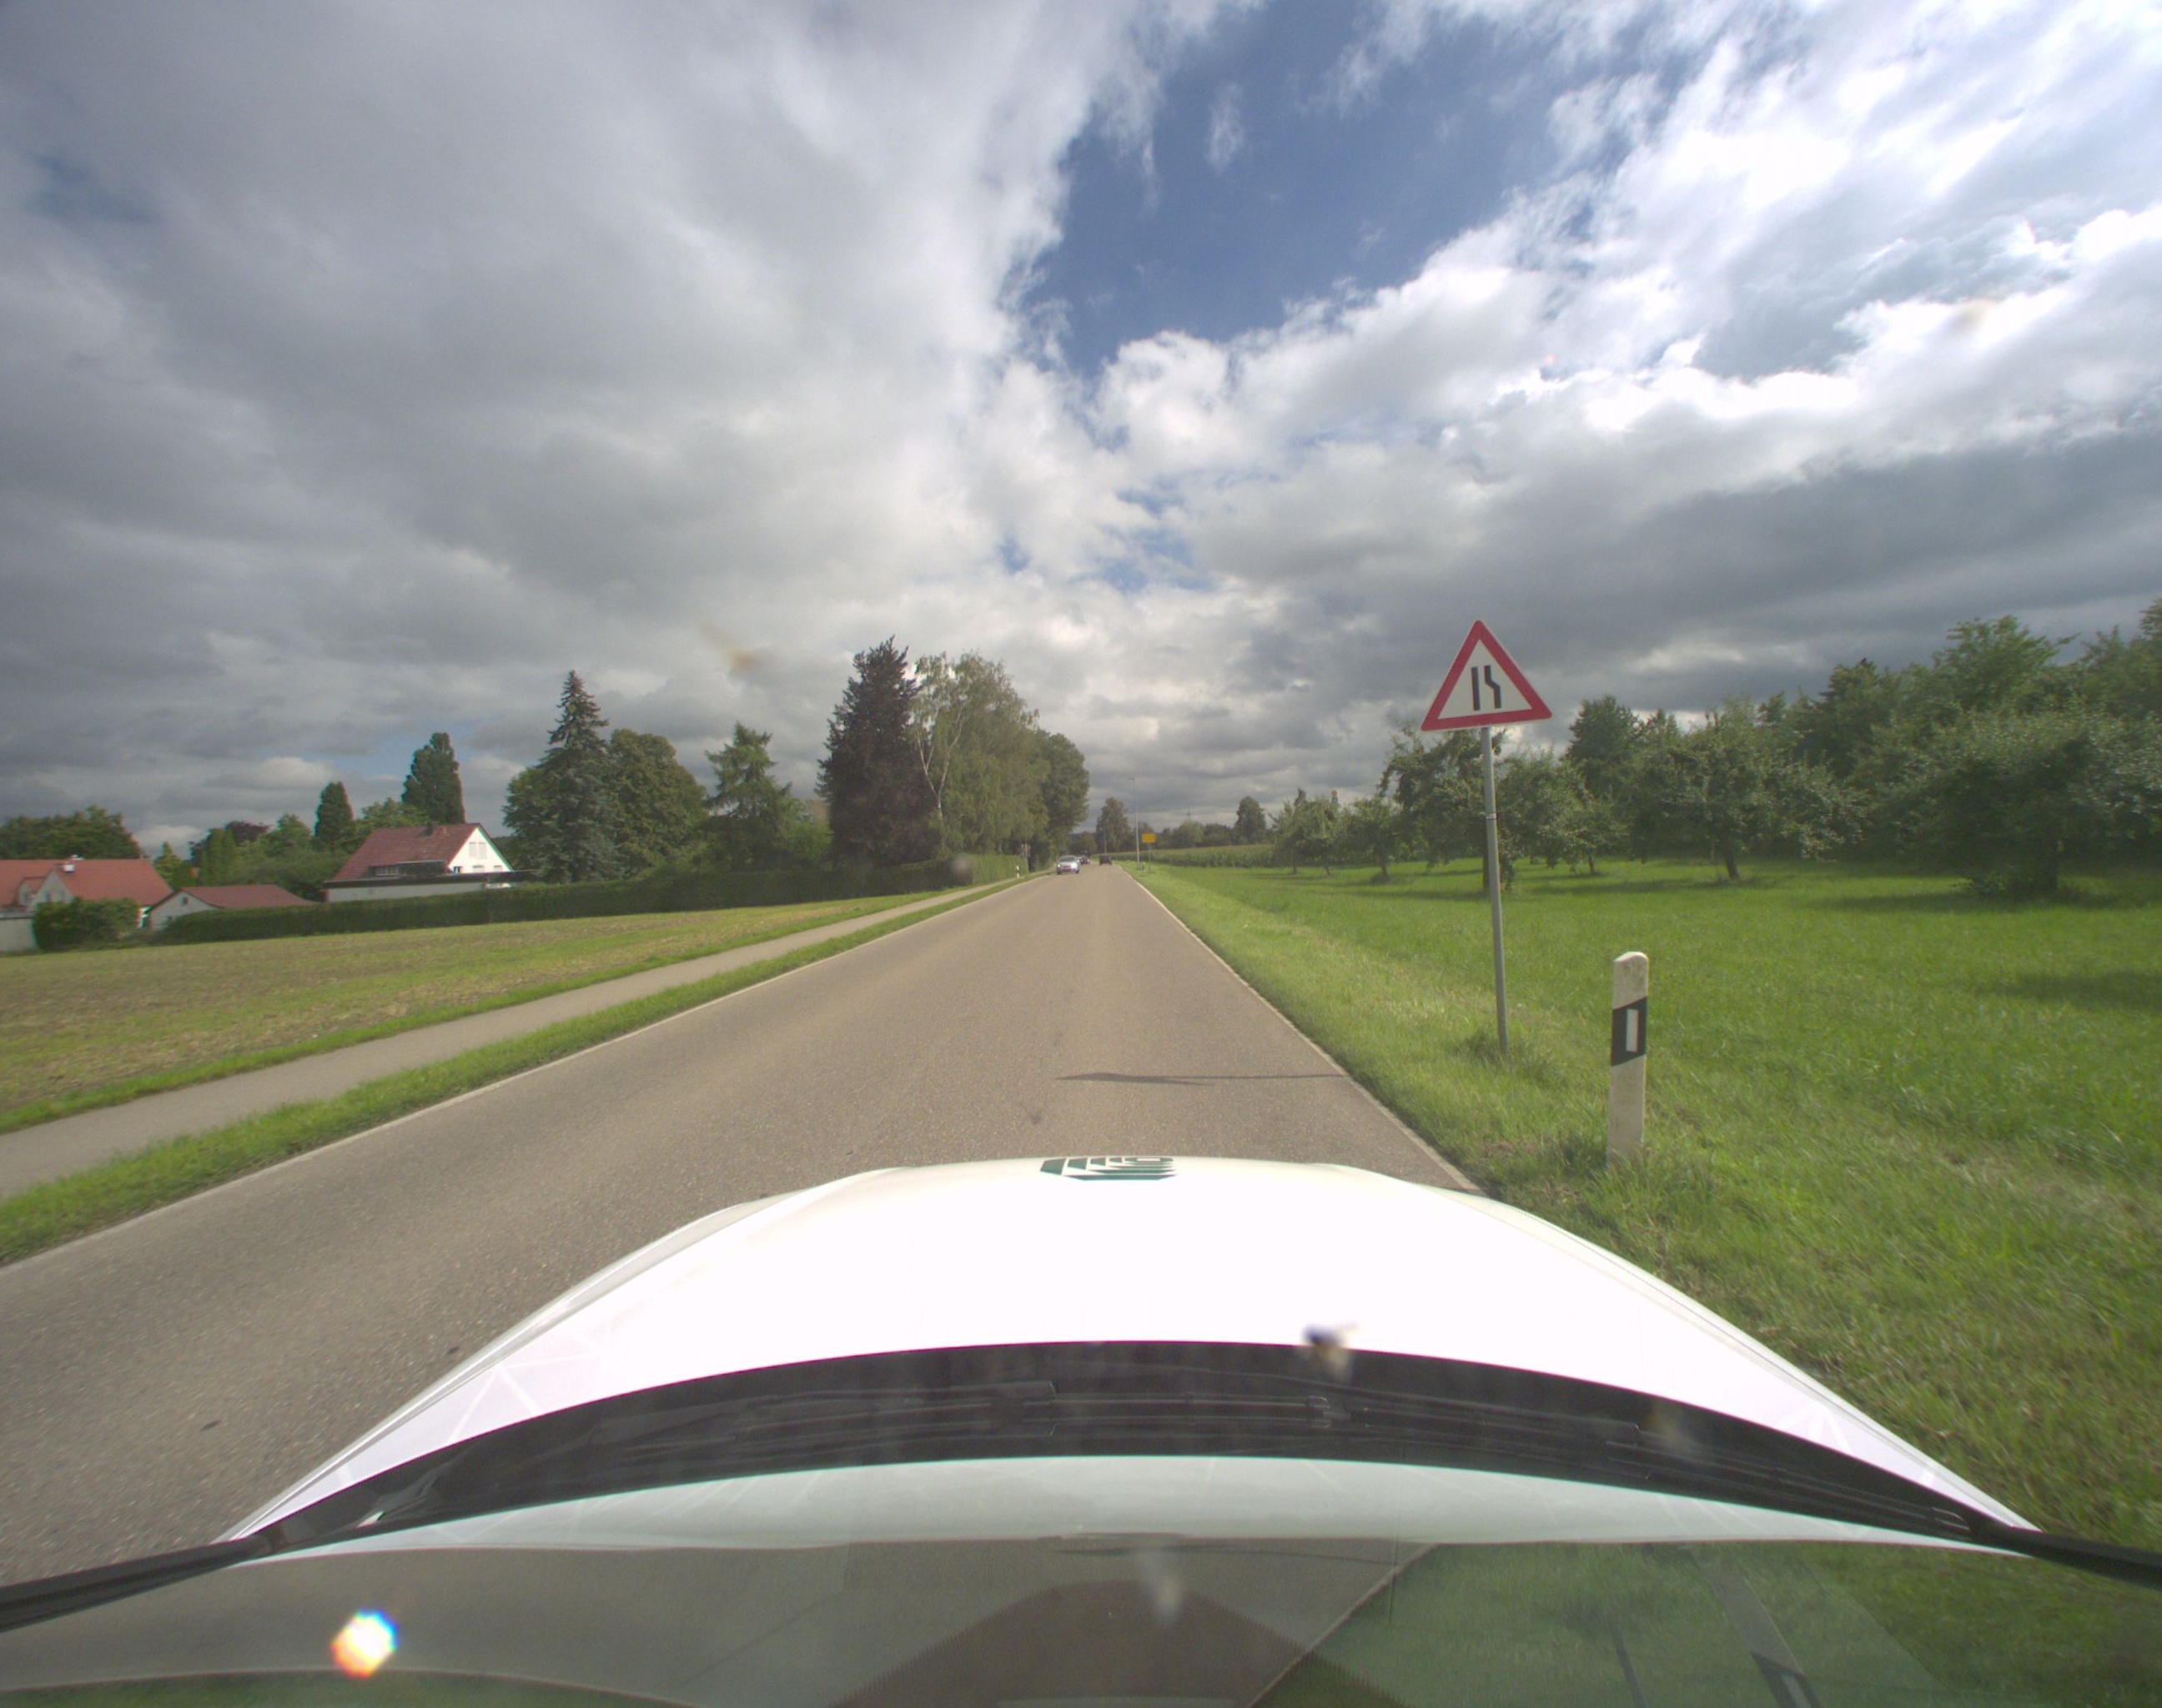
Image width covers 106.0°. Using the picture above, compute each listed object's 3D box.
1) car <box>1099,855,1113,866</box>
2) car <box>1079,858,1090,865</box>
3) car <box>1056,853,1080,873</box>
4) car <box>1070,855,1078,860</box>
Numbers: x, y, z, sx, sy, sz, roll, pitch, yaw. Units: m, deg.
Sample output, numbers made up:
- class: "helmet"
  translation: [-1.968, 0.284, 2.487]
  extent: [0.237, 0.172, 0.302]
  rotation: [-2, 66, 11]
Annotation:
- class: "car"
  translation: [3.965, 0.990, 128.188]
  extent: [1.901, 1.666, 3.998]
  rotation: [-4, 0, -1]
- class: "car"
  translation: [0.665, 1.421, 149.508]
  extent: [1.739, 1.222, 3.544]
  rotation: [-4, -1, 2]
- class: "car"
  translation: [-1.002, 0.730, 65.418]
  extent: [1.688, 1.459, 3.544]
  rotation: [-3, 0, 2]
- class: "car"
  translation: [-1.766, 0.984, 210.755]
  extent: [1.739, 1.222, 3.544]
  rotation: [-4, 0, 2]
